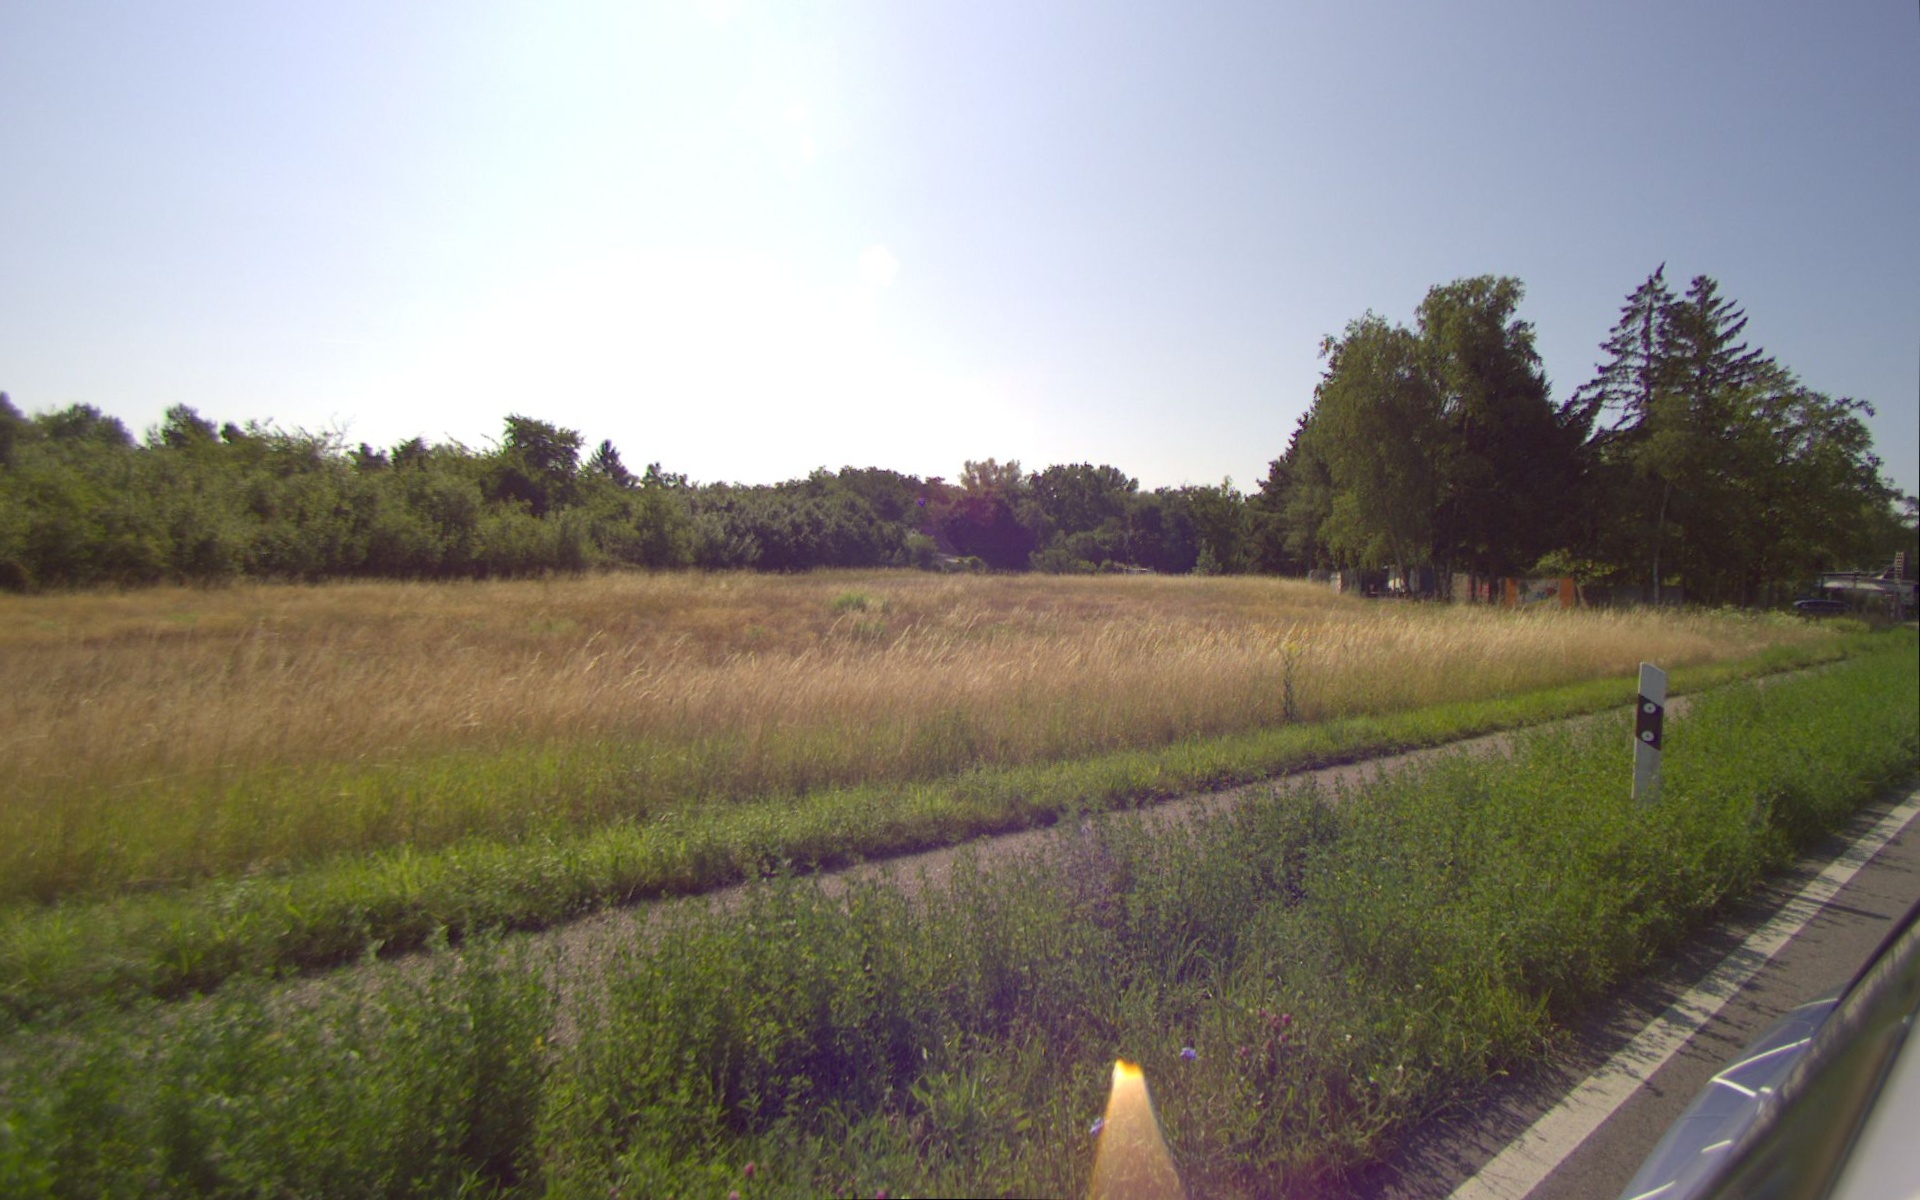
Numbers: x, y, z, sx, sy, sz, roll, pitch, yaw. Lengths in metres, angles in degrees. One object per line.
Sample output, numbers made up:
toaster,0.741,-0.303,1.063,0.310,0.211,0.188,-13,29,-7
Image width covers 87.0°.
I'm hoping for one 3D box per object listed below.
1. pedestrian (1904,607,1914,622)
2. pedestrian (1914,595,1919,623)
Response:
pedestrian,62.135,0.955,66.265,0.469,0.996,0.334,3,2,43
pedestrian,62.934,0.587,65.906,1.096,1.808,0.922,3,2,43
